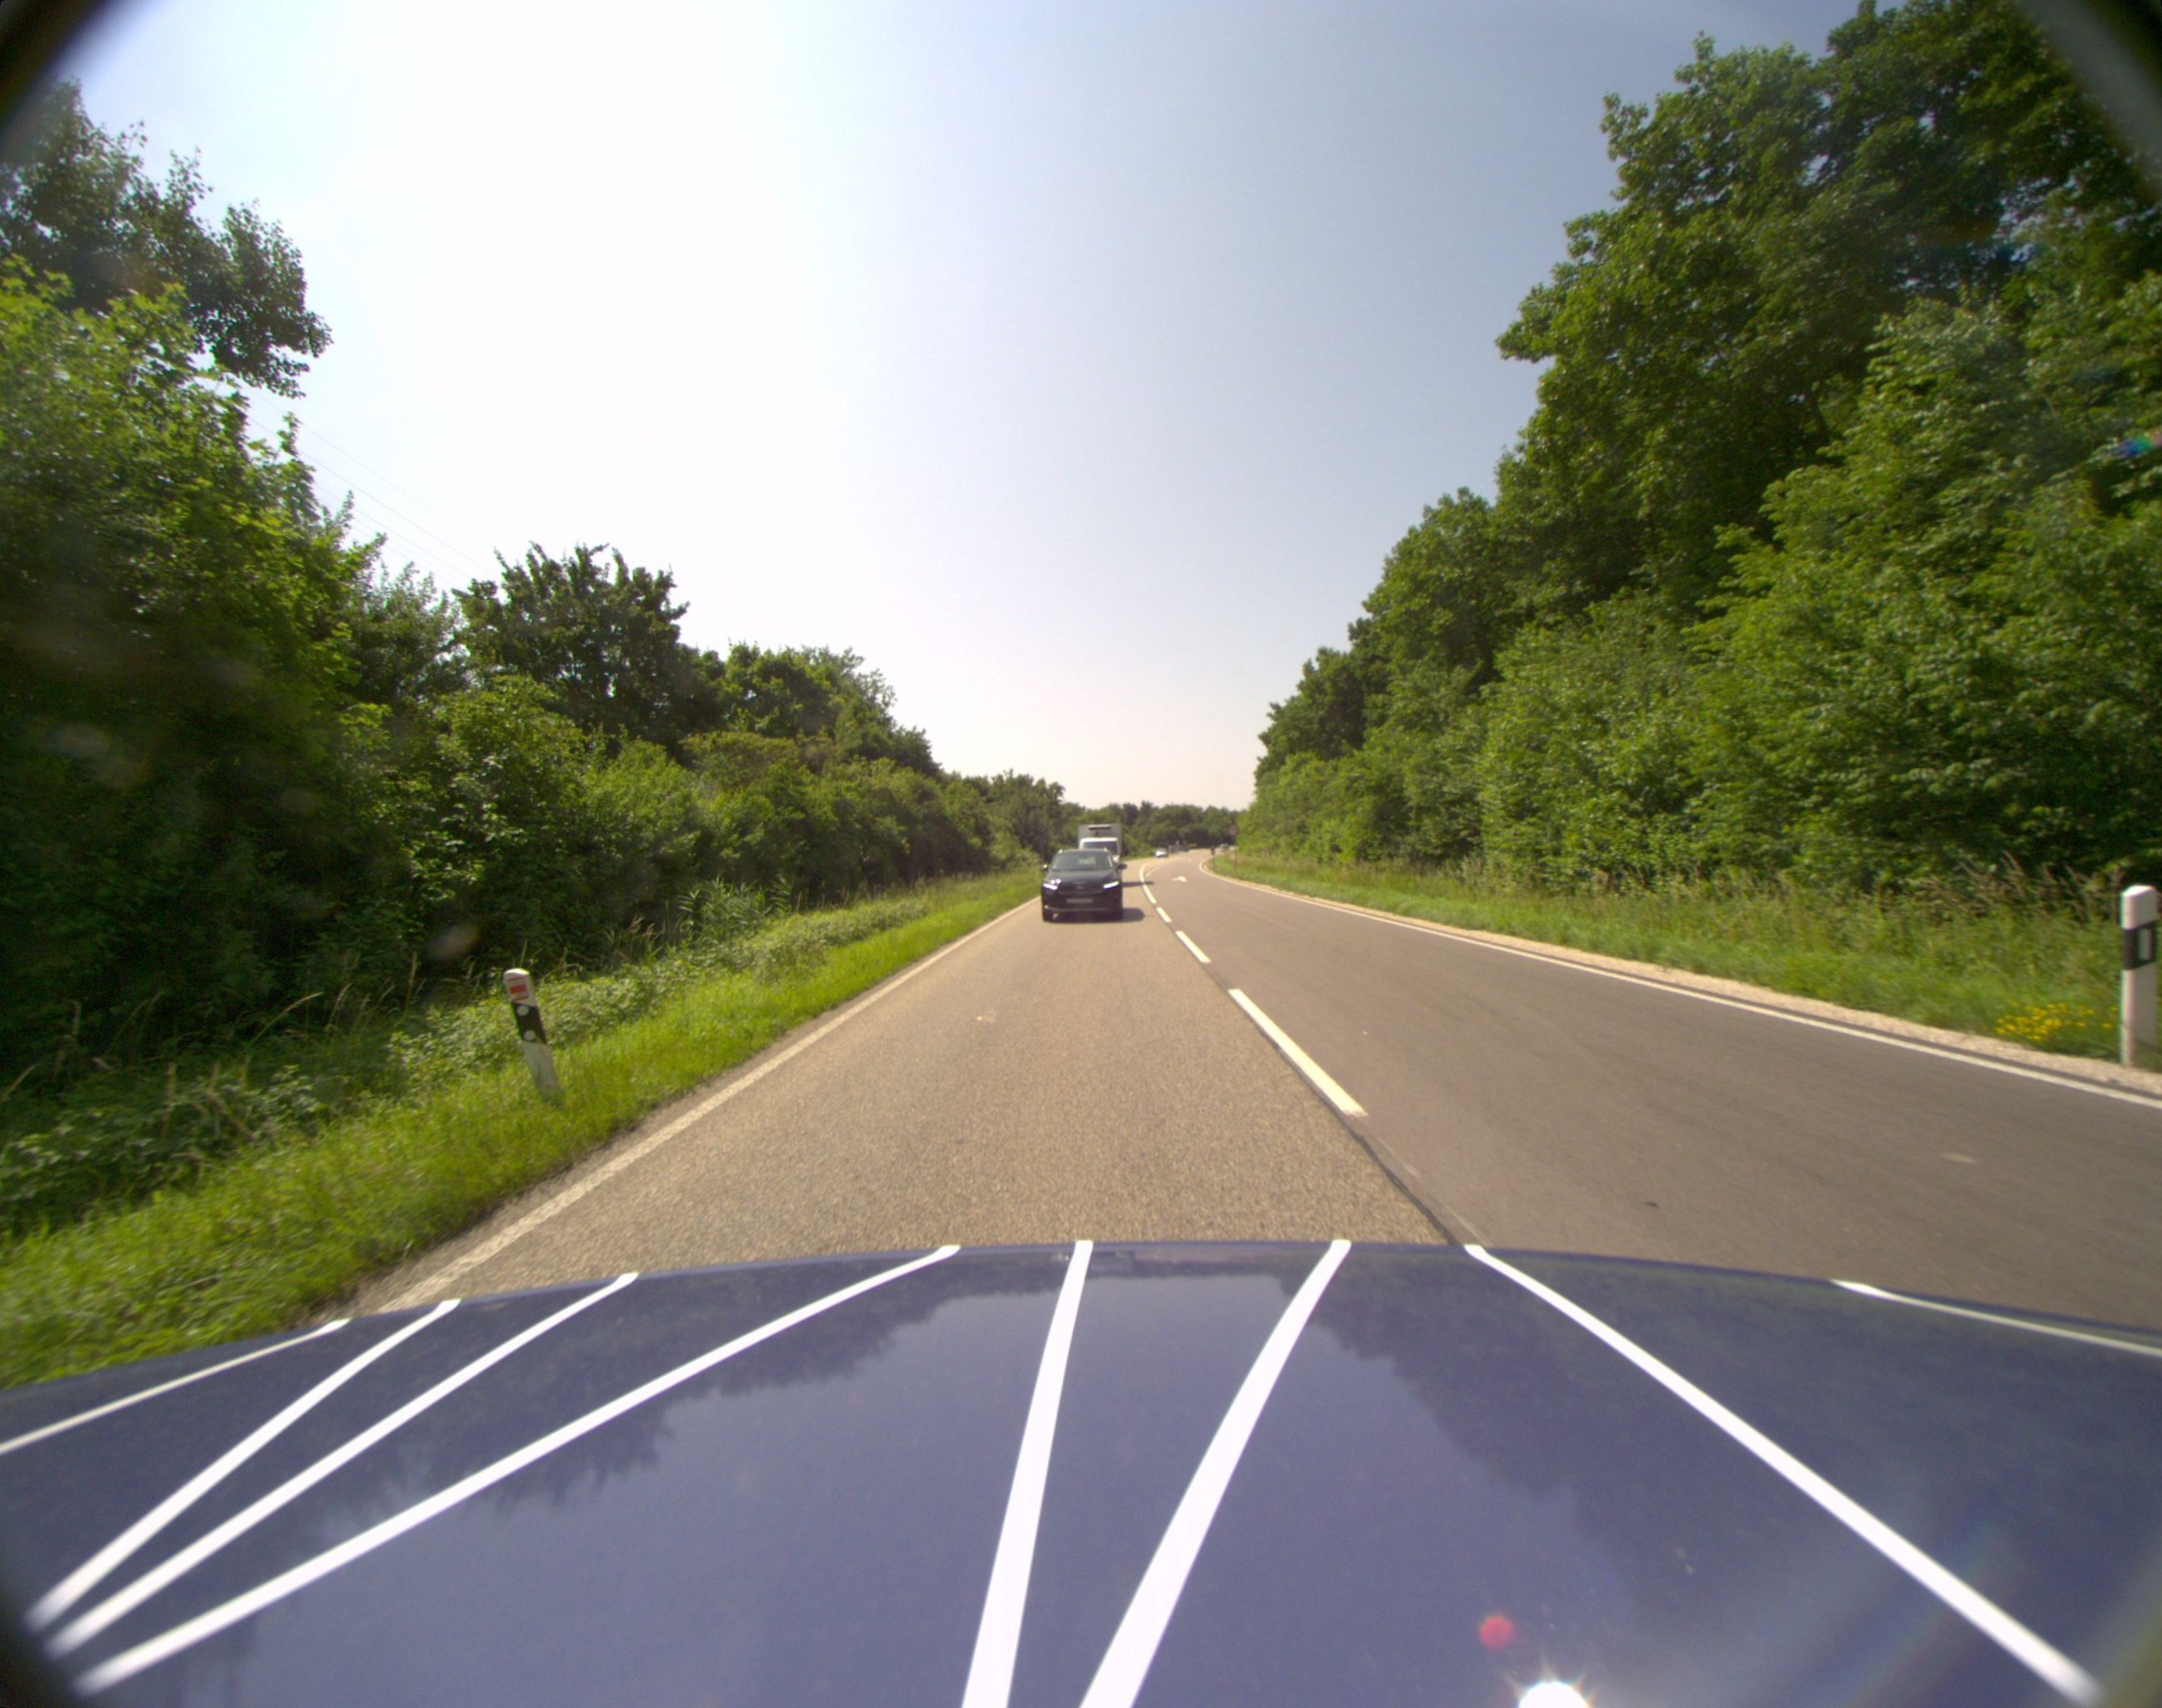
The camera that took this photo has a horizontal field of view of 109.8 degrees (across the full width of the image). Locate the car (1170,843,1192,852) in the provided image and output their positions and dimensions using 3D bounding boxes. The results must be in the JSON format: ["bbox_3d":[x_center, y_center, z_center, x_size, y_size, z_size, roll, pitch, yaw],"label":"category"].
[{"bbox_3d":[25.360,-1.681,192.650,5.226,1.896,2.013,-4,2,0],"label":"car"}]

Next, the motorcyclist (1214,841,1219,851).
[{"bbox_3d":[24.604,-1.473,138.009,0.832,1.742,0.623,-2,1,3],"label":"motorcyclist"}]

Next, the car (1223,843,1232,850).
[{"bbox_3d":[33.649,-1.777,174.314,1.806,1.627,4.213,-2,1,7],"label":"car"}]

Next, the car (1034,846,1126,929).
[{"bbox_3d":[0.142,0.709,19.392,1.924,1.711,5.479,-3,1,3],"label":"car"}]

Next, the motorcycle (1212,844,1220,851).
[{"bbox_3d":[24.643,-1.228,138.729,0.949,1.243,2.682,-2,0,4],"label":"motorcycle"}]

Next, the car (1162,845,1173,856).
[{"bbox_3d":[15.175,-0.681,133.683,1.808,1.797,4.002,-2,0,7],"label":"car"}]

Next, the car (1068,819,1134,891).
[{"bbox_3d":[1.096,-0.043,36.794,2.591,3.047,6.882,-2,2,6],"label":"car"}]
